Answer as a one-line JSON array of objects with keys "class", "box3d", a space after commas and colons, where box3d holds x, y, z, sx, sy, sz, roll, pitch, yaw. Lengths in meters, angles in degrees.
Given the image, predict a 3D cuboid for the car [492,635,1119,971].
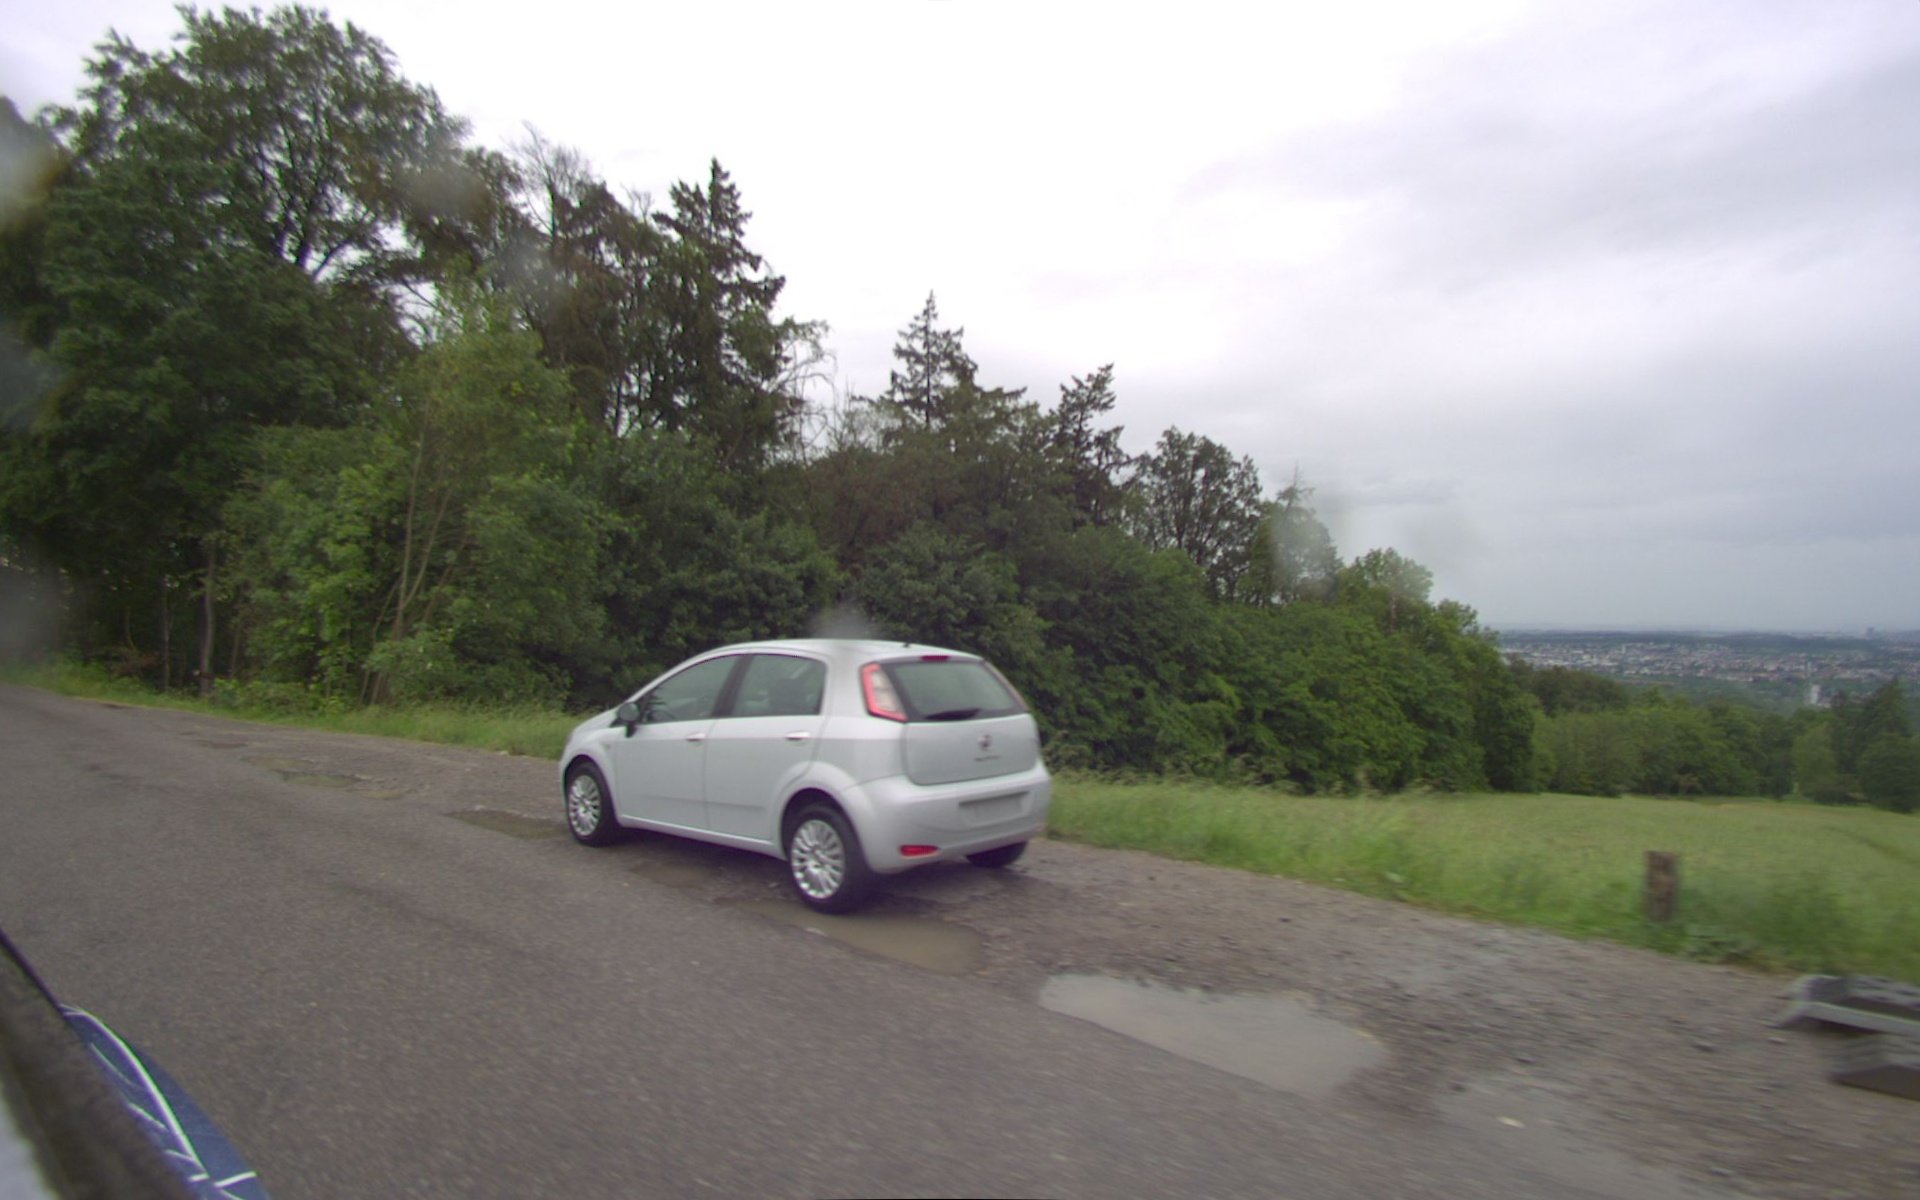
[{"class": "car", "box3d": [-1.300, 1.103, 7.070, 4.492, 1.608, 1.842, -2, -5, 41]}]
